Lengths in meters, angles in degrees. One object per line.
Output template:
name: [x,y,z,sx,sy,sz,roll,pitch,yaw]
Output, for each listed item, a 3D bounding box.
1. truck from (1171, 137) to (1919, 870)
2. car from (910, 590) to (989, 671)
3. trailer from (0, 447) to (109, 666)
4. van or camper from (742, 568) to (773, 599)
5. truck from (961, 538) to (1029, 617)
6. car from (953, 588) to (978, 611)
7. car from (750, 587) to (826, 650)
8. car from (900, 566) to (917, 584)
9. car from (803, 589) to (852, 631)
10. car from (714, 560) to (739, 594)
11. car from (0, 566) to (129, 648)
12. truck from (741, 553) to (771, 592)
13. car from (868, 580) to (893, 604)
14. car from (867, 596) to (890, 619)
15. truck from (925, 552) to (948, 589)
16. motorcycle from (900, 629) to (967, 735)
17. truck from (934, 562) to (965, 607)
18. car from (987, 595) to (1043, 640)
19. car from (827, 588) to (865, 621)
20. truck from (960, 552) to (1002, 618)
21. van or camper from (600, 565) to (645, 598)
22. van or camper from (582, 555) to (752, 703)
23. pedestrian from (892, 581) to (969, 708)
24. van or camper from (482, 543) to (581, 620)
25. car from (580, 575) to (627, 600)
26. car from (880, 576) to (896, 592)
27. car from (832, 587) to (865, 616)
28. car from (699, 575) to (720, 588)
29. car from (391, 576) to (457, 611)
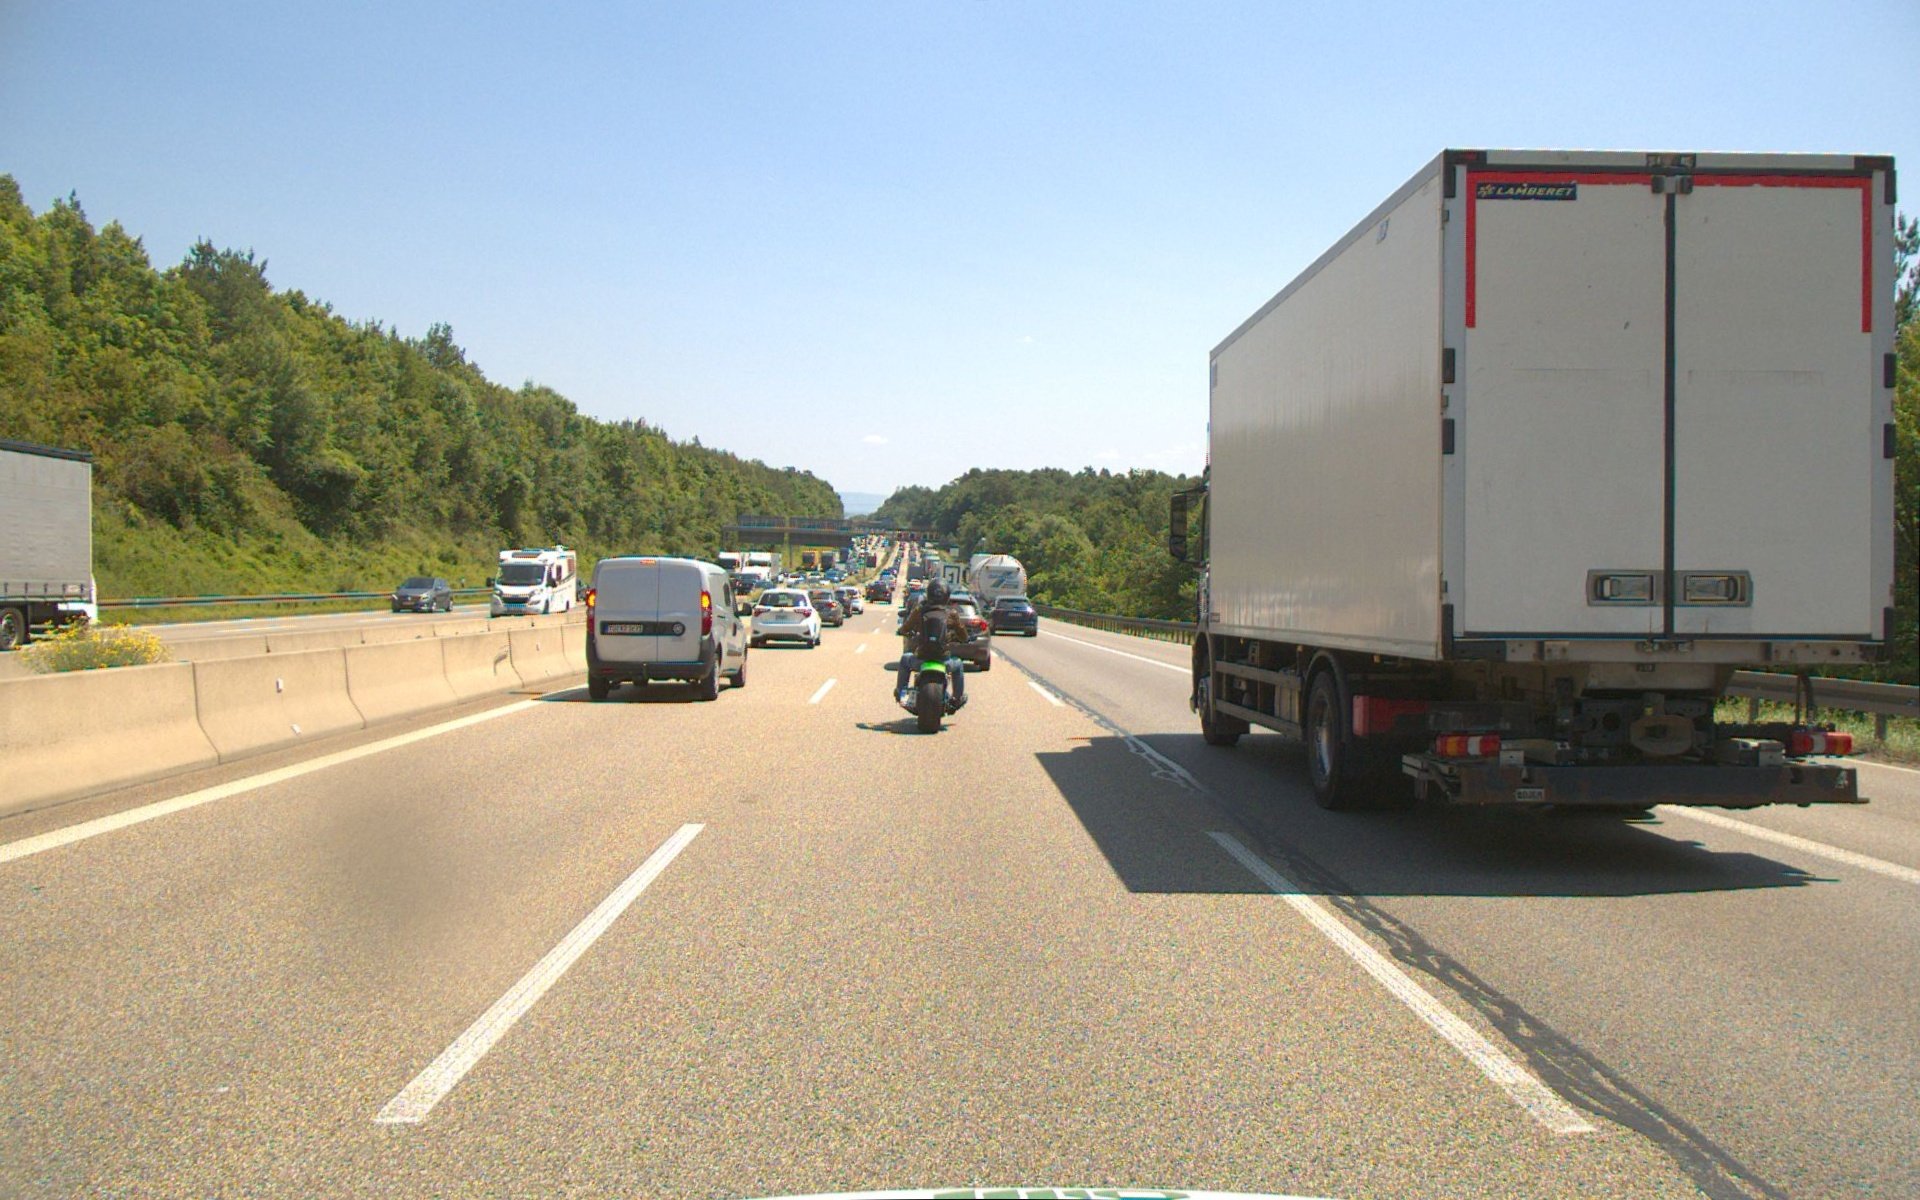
truck: [3.819,-0.567,13.840,2.634,3.944,9.778,0,0,-1]
car: [-0.160,0.567,33.783,1.501,1.536,4.001,0,0,1]
trailer: [-18.773,-0.801,27.275,2.756,3.976,13.821,0,0,-2]
van or camper: [-18.842,-1.523,154.291,2.185,2.809,6.835,1,0,-1]
truck: [1.667,-1.058,83.155,2.927,3.735,9.284,0,0,-2]
car: [0.404,-0.050,125.421,1.751,1.582,3.802,2,1,-2]
car: [-4.499,0.452,43.721,1.665,1.504,3.999,2,1,-2]
car: [-7.815,-3.822,250.422,2.454,2.632,5.015,2,1,-2]
car: [-5.200,0.376,65.447,1.665,1.504,3.999,2,1,-2]
car: [-27.818,-2.706,197.273,2.400,3.941,4.564,0,0,-2]
car: [-22.145,0.127,39.770,1.773,1.842,5.106,1,0,-1]
truck: [-23.239,-3.158,188.734,2.783,4.287,5.658,1,0,-2]
car: [-6.555,-0.694,136.504,1.842,1.892,3.999,3,1,-2]
car: [-7.483,0.690,151.762,1.953,2.049,3.999,0,0,-1]
truck: [-3.601,-4.379,248.700,2.972,5.228,9.980,3,1,-2]
motorcycle: [-0.289,0.892,18.619,0.677,1.033,2.121,2,0,-1]
truck: [-1.214,-1.768,182.674,2.972,4.621,9.980,3,1,-2]
car: [2.054,0.643,62.824,1.792,1.496,3.999,3,1,-2]
car: [-5.723,0.219,83.461,1.665,1.504,3.999,2,1,-2]
truck: [1.160,-0.813,92.115,1.954,3.584,4.747,0,0,-4]
van or camper: [-20.519,-1.127,100.663,2.034,2.011,3.704,0,1,-1]
van or camper: [-4.092,0.379,23.719,1.759,1.925,4.159,0,0,-1]
pedestrian: [-0.325,0.481,18.467,0.832,1.385,0.961,0,0,-1]
van or camper: [-16.457,-0.670,63.918,2.224,2.783,6.803,0,0,-2]
car: [-20.432,-0.731,94.870,1.765,1.370,4.722,1,0,-1]
car: [-9.323,-2.017,214.637,1.890,2.049,3.999,0,0,-1]
car: [-6.382,0.054,94.792,1.665,1.504,3.999,2,1,-2]
car: [-27.507,-2.003,181.795,1.727,1.394,4.500,1,0,-2]
car: [-23.664,-0.297,73.204,1.545,1.487,4.388,0,1,-1]
